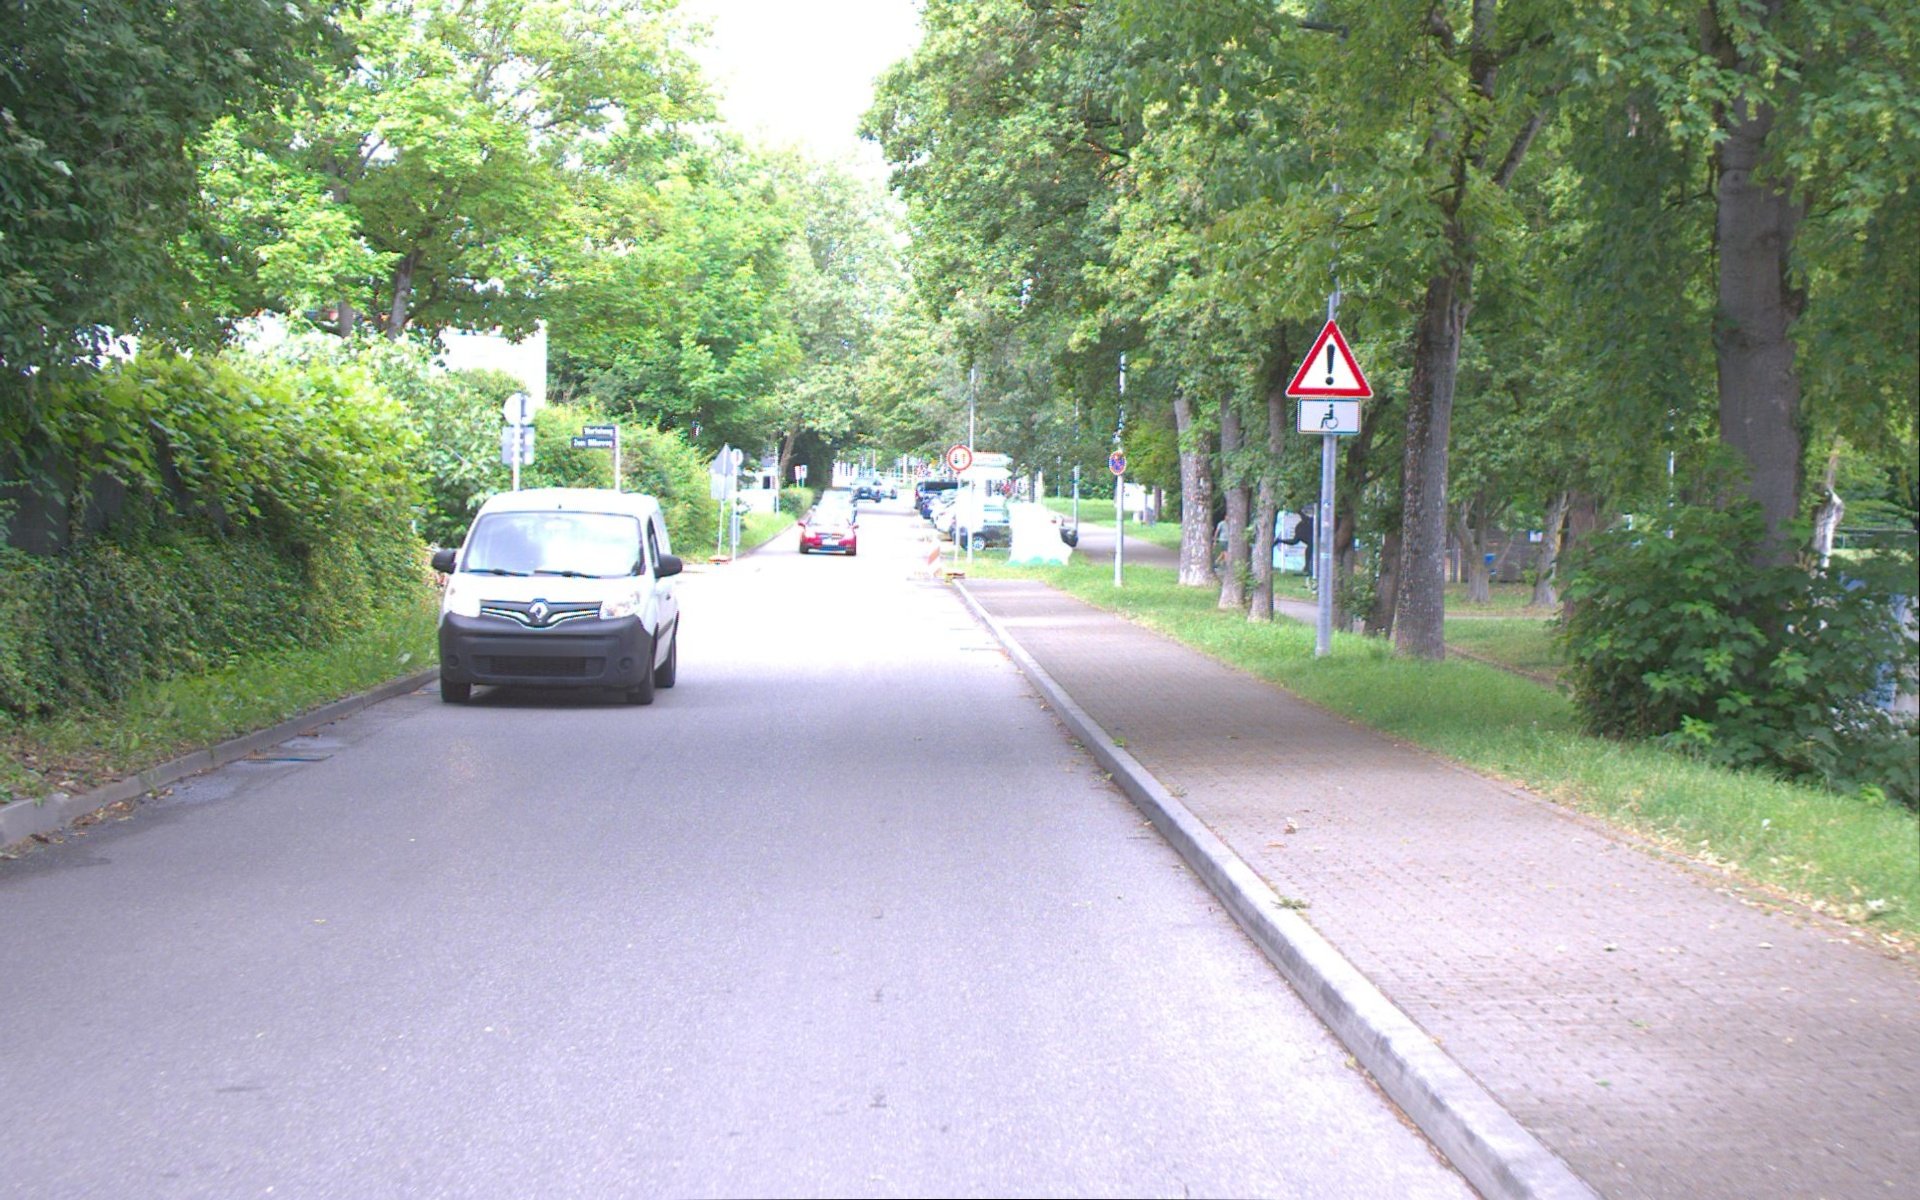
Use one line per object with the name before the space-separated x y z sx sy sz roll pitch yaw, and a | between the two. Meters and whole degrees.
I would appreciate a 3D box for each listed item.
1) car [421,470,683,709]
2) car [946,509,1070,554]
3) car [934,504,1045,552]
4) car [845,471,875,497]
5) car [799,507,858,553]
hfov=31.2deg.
car | -3.435 -0.105 29.684 1.873 1.907 4.432 0 0 -2
car | 1.581 -2.277 114.739 4.062 1.429 2.000 0 0 -2
car | 1.126 -2.794 132.457 4.062 1.681 1.823 -2 2 -4
car | -6.937 -8.054 238.708 1.968 1.741 4.339 2 2 -2
car | -4.137 -2.215 108.329 1.750 1.331 4.066 2 2 -1
